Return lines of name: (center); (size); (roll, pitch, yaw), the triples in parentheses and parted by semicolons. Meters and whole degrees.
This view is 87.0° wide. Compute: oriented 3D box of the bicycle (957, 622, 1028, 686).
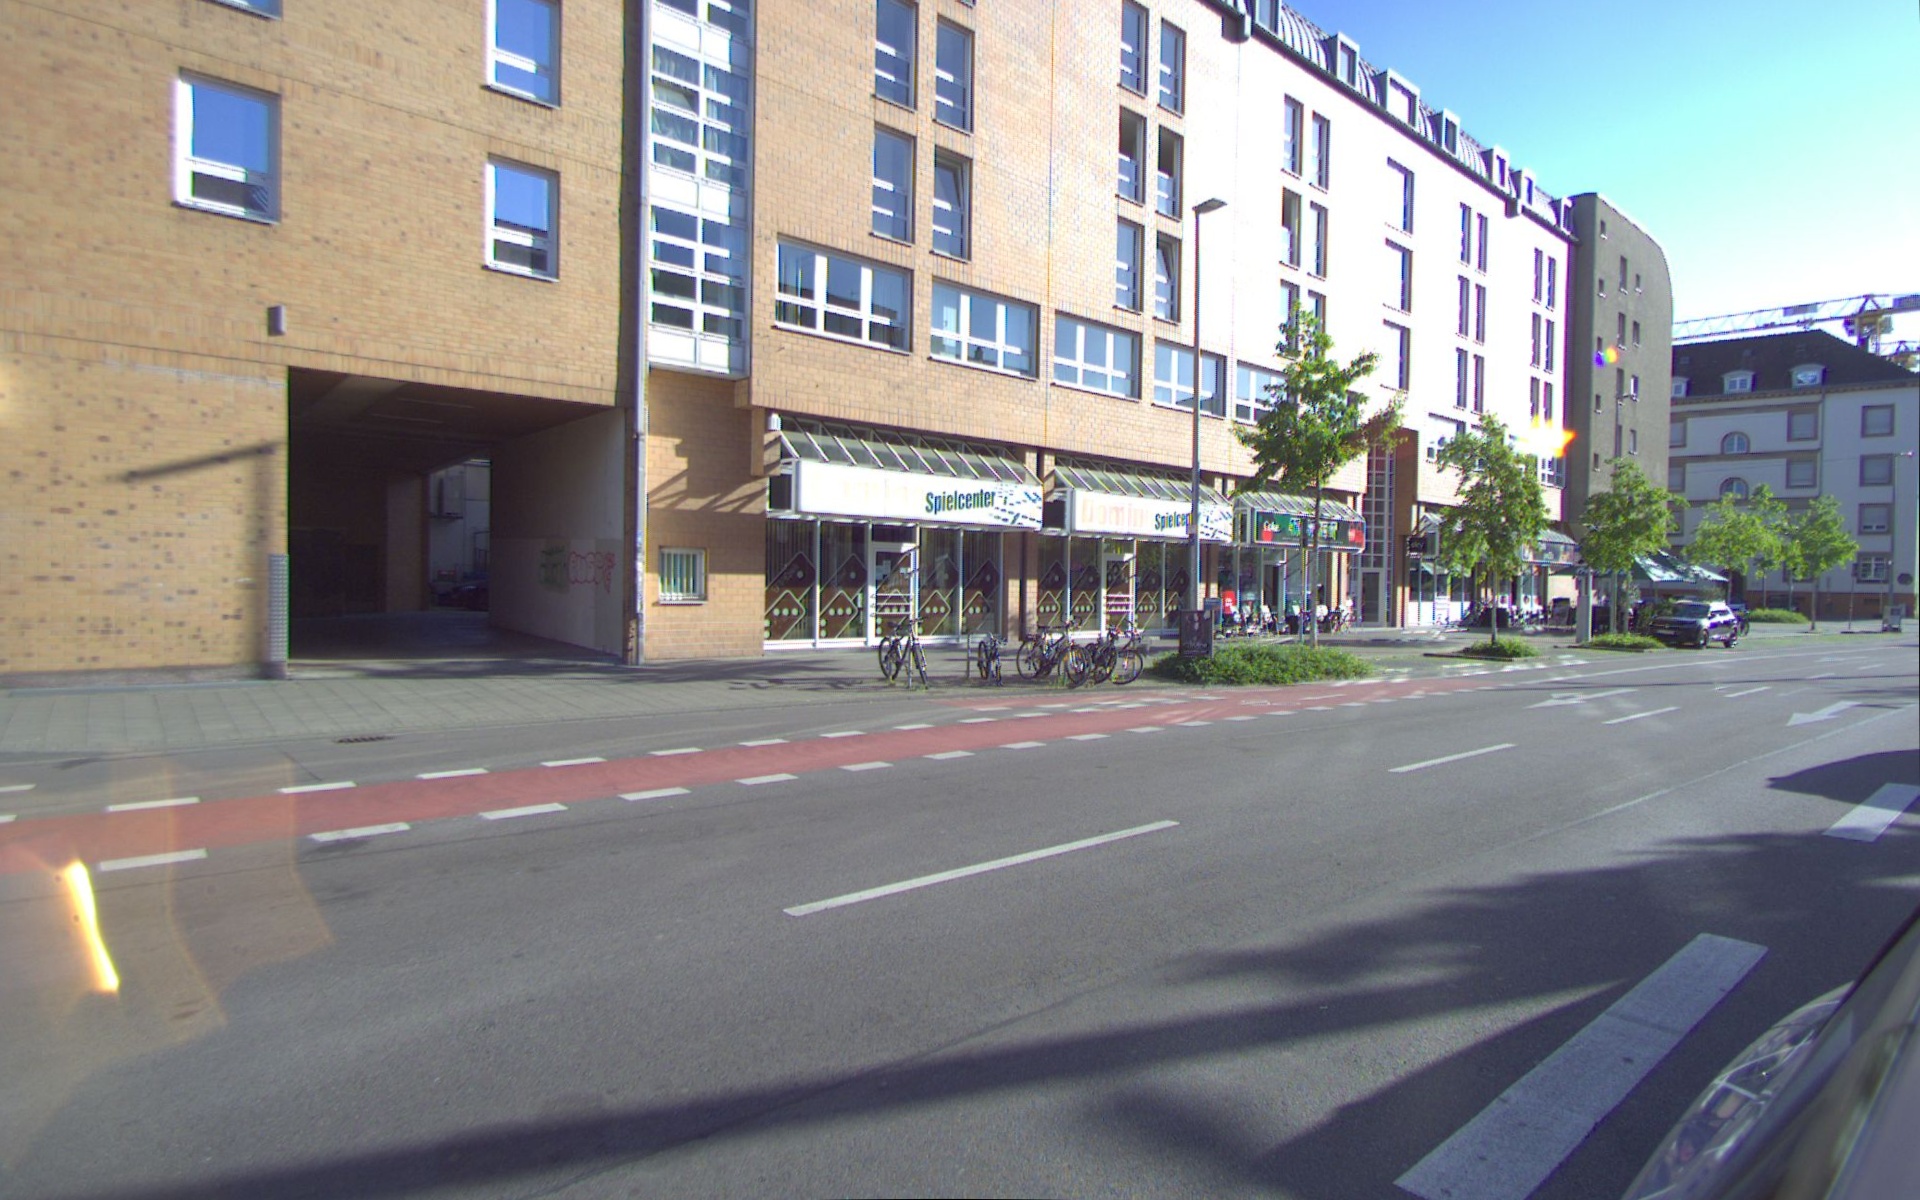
bicycle: (0.510, 0.861, 16.690); (0.359, 0.842, 1.779); (0, 3, -26)

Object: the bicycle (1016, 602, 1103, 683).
bicycle: (1.658, 0.686, 17.205); (0.553, 1.177, 1.843); (0, 3, -26)

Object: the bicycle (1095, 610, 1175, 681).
bicycle: (3.062, 0.769, 17.864); (0.343, 1.069, 1.843); (0, 3, -26)

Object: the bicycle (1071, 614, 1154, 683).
bicycle: (2.634, 0.813, 17.657); (0.440, 0.997, 1.843); (0, 3, -26)

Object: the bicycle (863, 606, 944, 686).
bicycle: (-0.937, 0.708, 16.248); (0.423, 1.089, 1.776); (-1, 4, -35)

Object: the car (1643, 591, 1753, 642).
car: (25.756, 0.535, 35.313); (3.921, 1.660, 1.782); (0, 1, -33)
